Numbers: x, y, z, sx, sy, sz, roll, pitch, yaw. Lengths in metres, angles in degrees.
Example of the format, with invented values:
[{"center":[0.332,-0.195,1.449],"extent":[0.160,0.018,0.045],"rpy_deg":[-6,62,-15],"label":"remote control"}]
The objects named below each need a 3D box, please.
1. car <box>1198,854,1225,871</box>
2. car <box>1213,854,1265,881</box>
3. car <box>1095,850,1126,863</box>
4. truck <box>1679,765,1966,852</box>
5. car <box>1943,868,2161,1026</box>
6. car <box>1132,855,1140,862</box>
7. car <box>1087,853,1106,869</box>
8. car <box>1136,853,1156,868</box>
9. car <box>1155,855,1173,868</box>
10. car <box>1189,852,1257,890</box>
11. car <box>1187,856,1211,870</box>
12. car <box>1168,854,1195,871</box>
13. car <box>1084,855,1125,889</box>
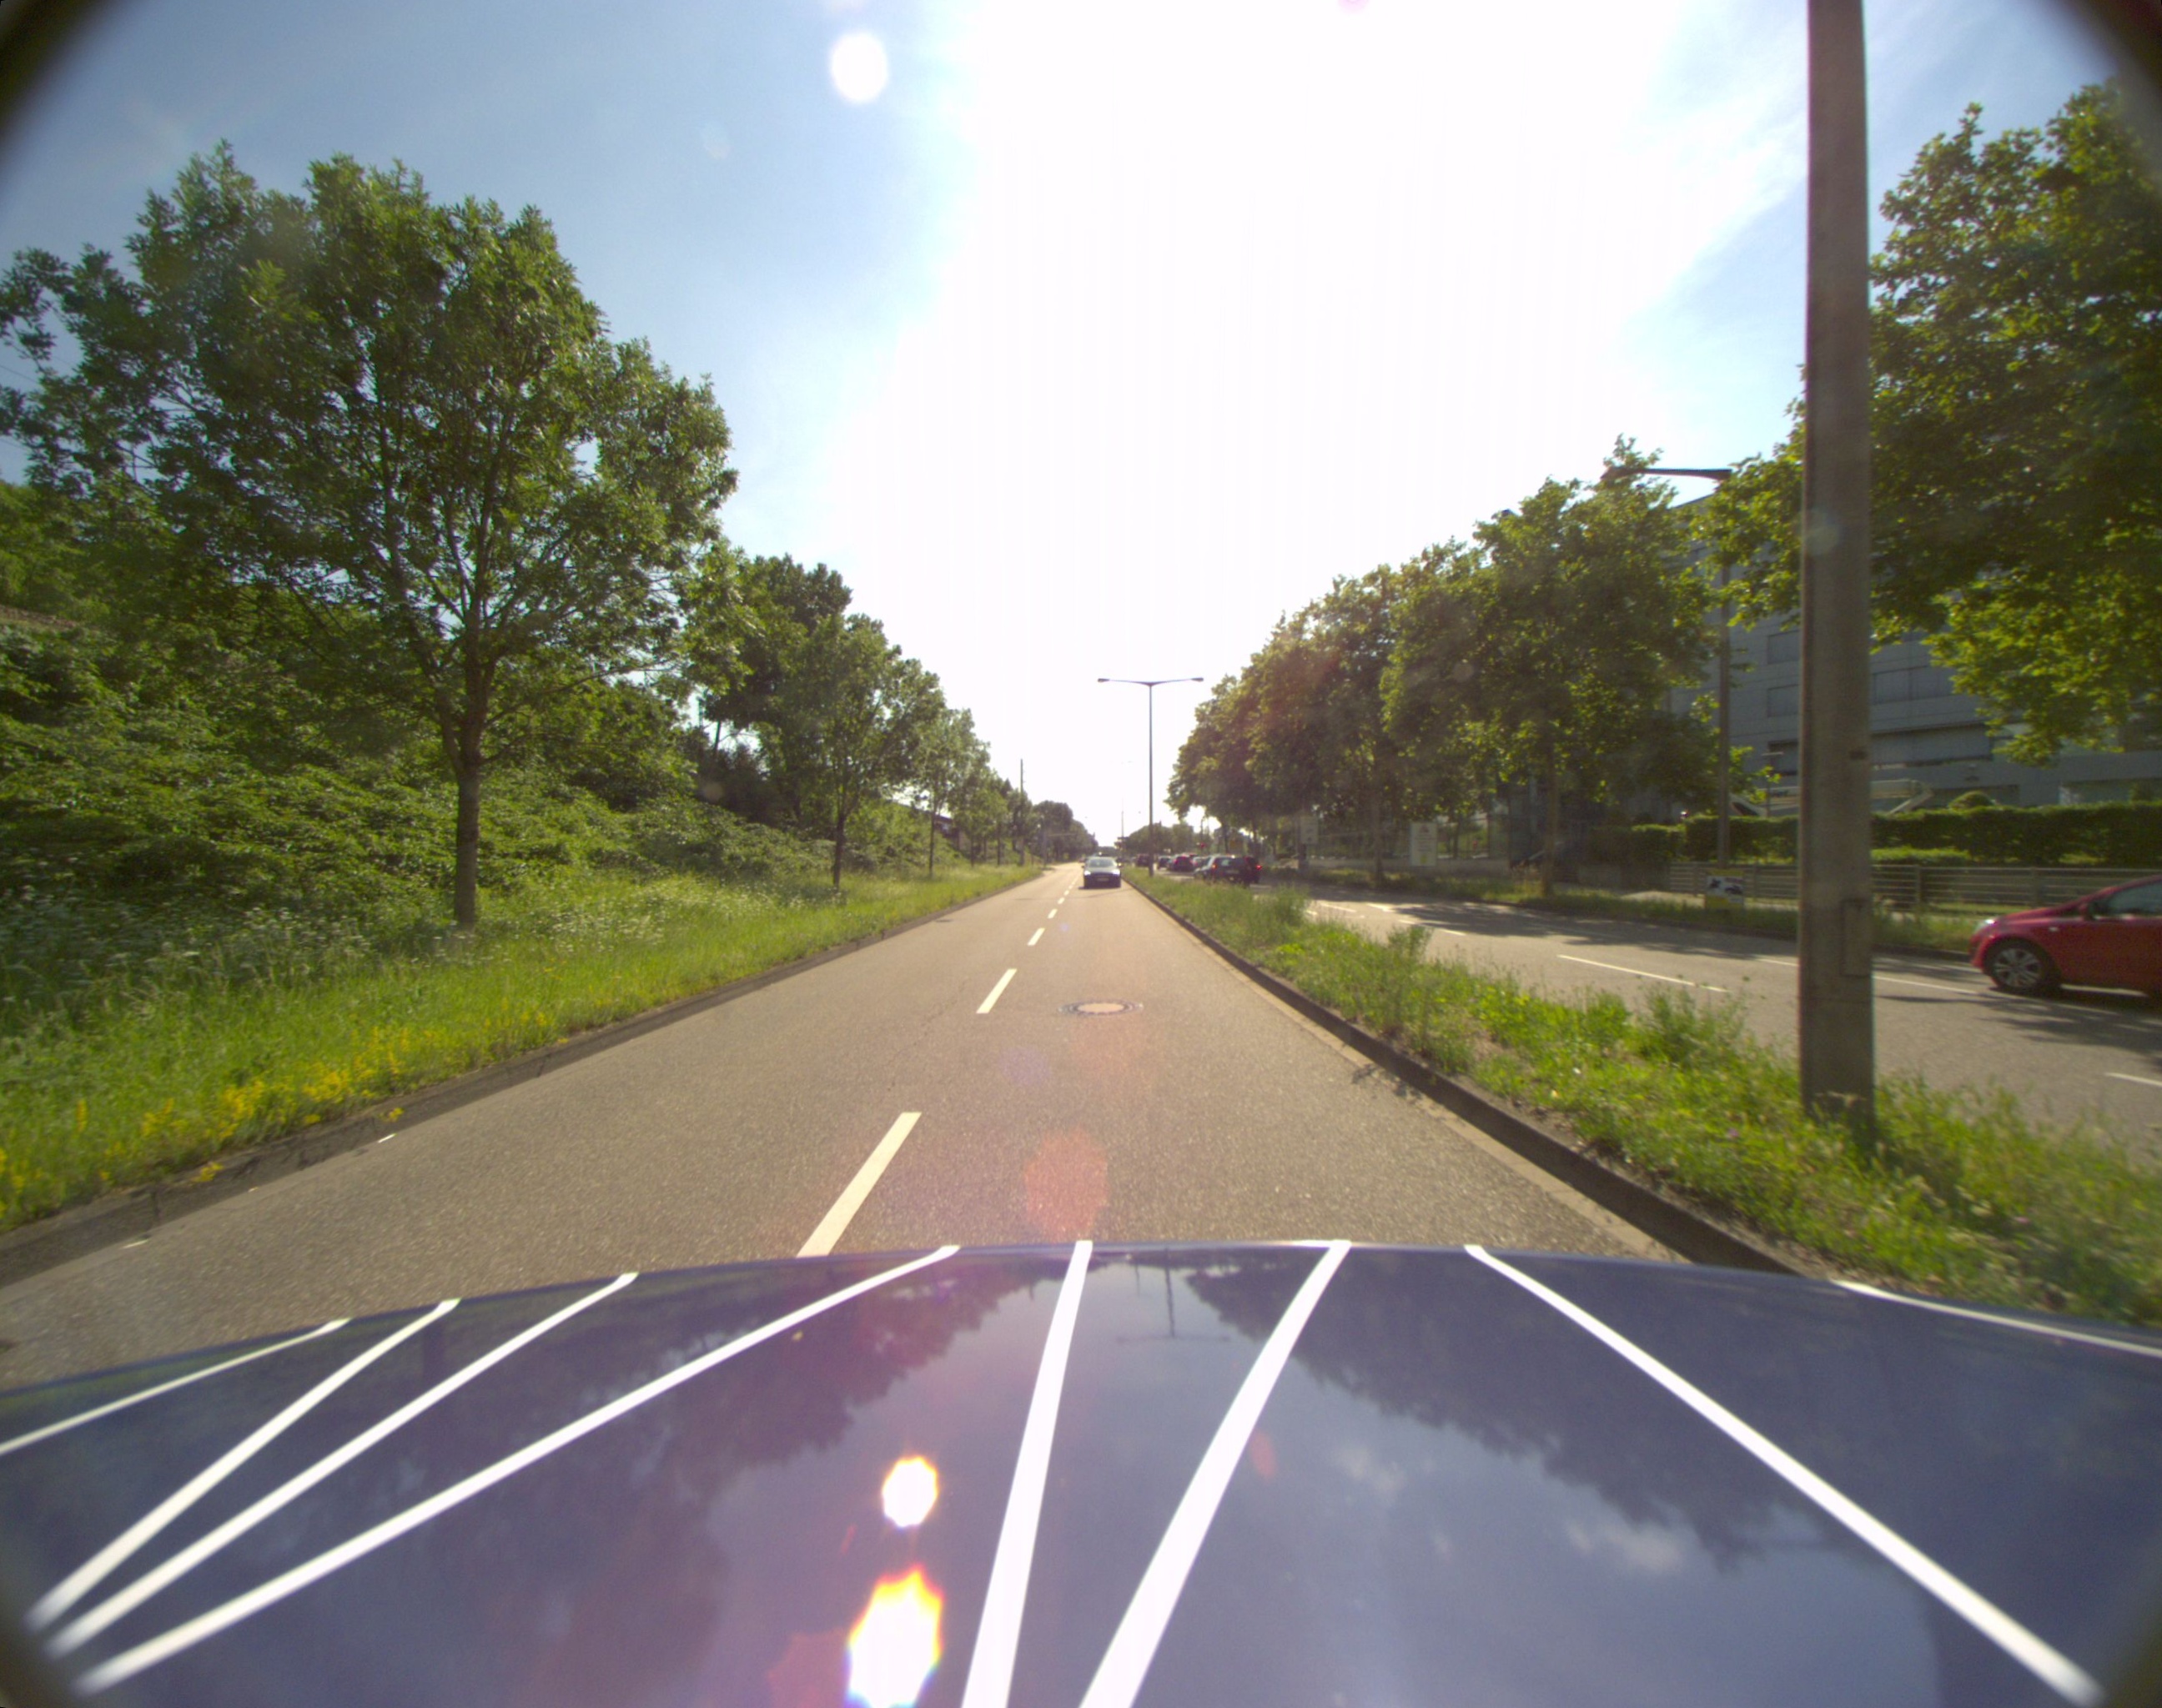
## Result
[{"center":[12.592,0.779,73.563],"extent":[1.892,1.581,4.446],"rpy_deg":[1,0,1],"label":"car"},{"center":[8.905,0.722,43.259],"extent":[1.832,1.459,4.987],"rpy_deg":[0,0,-1],"label":"car"},{"center":[4.851,0.476,124.784],"extent":[4.728,2.001,1.996],"rpy_deg":[0,-2,-28],"label":"car"},{"center":[33.051,-1.801,34.429],"extent":[2.678,3.376,8.965],"rpy_deg":[-1,0,-36],"label":"truck"},{"center":[11.046,0.902,6.987],"extent":[1.767,1.454,4.001],"rpy_deg":[1,0,3],"label":"car"},{"center":[14.950,1.138,205.233],"extent":[1.998,1.713,5.169],"rpy_deg":[-1,-2,5],"label":"car"},{"center":[1.645,0.769,83.473],"extent":[1.998,1.699,4.431],"rpy_deg":[-1,0,0],"label":"car"},{"center":[7.072,0.724,83.032],"extent":[1.812,1.605,4.491],"rpy_deg":[0,0,0],"label":"car"},{"center":[9.657,0.873,88.560],"extent":[1.766,1.466,3.958],"rpy_deg":[0,0,0],"label":"car"},{"center":[5.740,0.647,31.338],"extent":[1.777,1.459,4.670],"rpy_deg":[1,0,-2],"label":"car"},{"center":[12.435,0.899,80.356],"extent":[1.895,1.441,5.004],"rpy_deg":[1,0,1],"label":"car"},{"center":[9.330,0.789,70.989],"extent":[1.998,1.601,4.496],"rpy_deg":[0,-1,1],"label":"car"},{"center":[1.083,0.818,36.270],"extent":[1.826,1.497,4.216],"rpy_deg":[-1,0,0],"label":"car"}]
